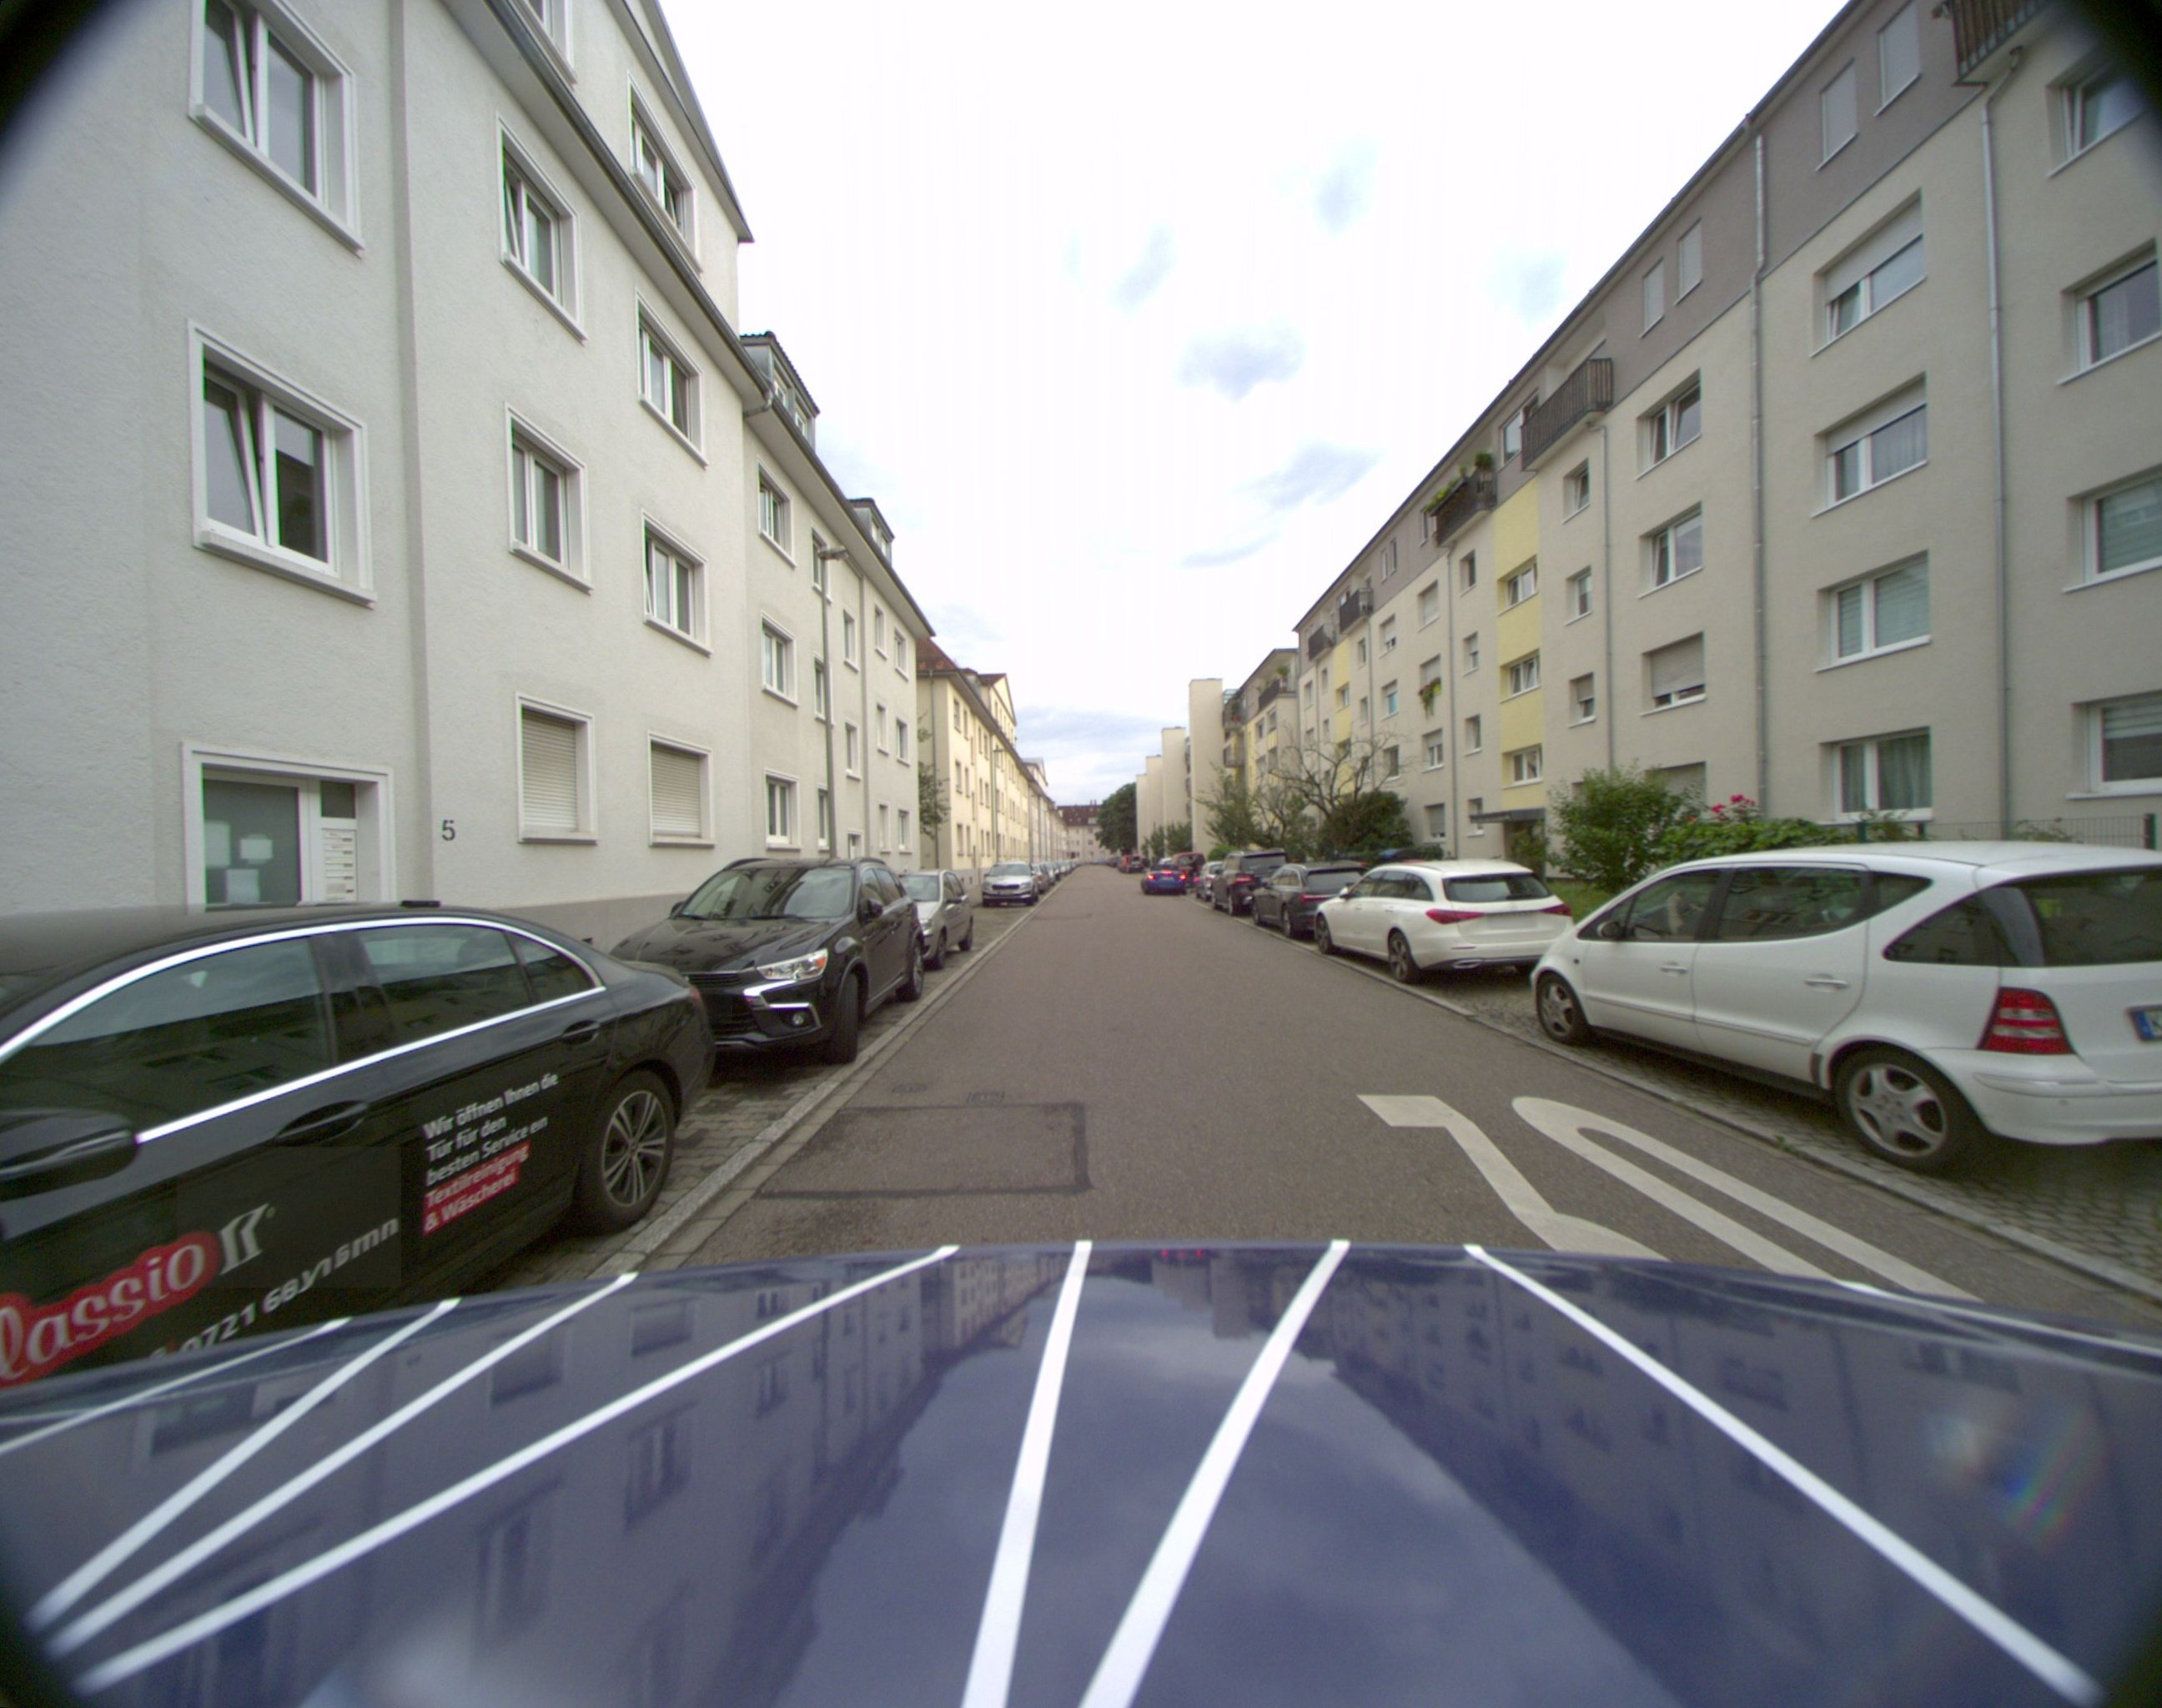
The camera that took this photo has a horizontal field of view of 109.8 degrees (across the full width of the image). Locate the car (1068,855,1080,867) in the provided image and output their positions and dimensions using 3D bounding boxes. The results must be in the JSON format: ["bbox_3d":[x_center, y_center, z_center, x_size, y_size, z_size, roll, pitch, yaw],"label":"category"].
[{"bbox_3d":[-1.119,1.017,113.646,1.737,1.670,3.592,-1,0,-1],"label":"car"}]

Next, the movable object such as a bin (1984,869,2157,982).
[{"bbox_3d":[10.680,0.745,8.236,0.871,1.103,0.787,-2,2,-3],"label":"movable object such as a bin"}]

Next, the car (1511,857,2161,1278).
[{"bbox_3d":[4.693,0.855,4.880,1.689,1.629,3.727,-2,0,-1],"label":"car"}]

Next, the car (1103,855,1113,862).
[{"bbox_3d":[6.203,1.091,173.766,1.745,1.534,3.637,-2,0,-5],"label":"car"}]

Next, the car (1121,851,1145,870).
[{"bbox_3d":[5.798,0.791,85.587,2.188,2.019,4.422,-1,-1,-2],"label":"car"}]

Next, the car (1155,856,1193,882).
[{"bbox_3d":[5.531,0.877,45.380,1.707,1.436,3.542,-1,-1,-2],"label":"car"}]

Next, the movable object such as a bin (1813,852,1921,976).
[{"bbox_3d":[9.091,0.668,8.806,0.659,1.360,0.587,-2,2,-3],"label":"movable object such as a bin"}]

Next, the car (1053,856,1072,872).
[{"bbox_3d":[-1.787,0.974,74.827,1.737,1.443,4.217,-1,0,-1],"label":"car"}]

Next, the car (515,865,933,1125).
[{"bbox_3d":[-2.675,0.928,6.919,1.853,1.589,4.160,-1,0,-1],"label":"car"}]

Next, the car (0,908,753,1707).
[{"bbox_3d":[-2.814,1.046,2.293,1.786,1.454,4.322,-1,0,-1],"label":"car"}]

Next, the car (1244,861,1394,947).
[{"bbox_3d":[4.726,0.917,15.802,1.729,1.445,4.483,-1,0,1],"label":"car"}]

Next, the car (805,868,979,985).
[{"bbox_3d":[-2.770,0.999,12.003,1.737,1.478,3.757,-1,0,1],"label":"car"}]

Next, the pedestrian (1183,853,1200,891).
[{"bbox_3d":[4.995,0.807,34.290,0.603,1.657,0.622,-2,0,-2],"label":"pedestrian"}]

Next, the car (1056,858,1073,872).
[{"bbox_3d":[-1.816,1.185,84.616,1.737,1.443,4.217,-1,0,-1],"label":"car"}]

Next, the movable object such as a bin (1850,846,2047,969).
[{"bbox_3d":[10.551,0.603,9.303,1.059,1.366,1.189,-2,1,-4],"label":"movable object such as a bin"}]

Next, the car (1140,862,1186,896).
[{"bbox_3d":[3.583,1.076,33.776,1.679,1.307,3.908,-2,1,2],"label":"car"}]

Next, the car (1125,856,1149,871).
[{"bbox_3d":[5.782,1.005,79.350,2.013,1.436,4.197,-1,-1,-2],"label":"car"}]

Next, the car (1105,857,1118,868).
[{"bbox_3d":[5.489,1.517,137.028,1.999,2.001,3.999,-2,0,-3],"label":"car"}]

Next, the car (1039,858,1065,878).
[{"bbox_3d":[-2.076,1.012,55.648,1.737,1.363,4.217,-1,0,-1],"label":"car"}]

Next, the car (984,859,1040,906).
[{"bbox_3d":[-2.464,0.982,27.781,1.737,1.538,3.677,-1,0,-1],"label":"car"}]

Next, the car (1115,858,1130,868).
[{"bbox_3d":[6.770,1.458,124.113,1.745,1.534,3.637,-2,0,-5],"label":"car"}]

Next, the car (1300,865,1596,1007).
[{"bbox_3d":[4.682,0.920,10.619,1.723,1.501,4.687,-1,-1,-2],"label":"car"}]

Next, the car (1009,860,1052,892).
[{"bbox_3d":[-2.378,1.024,36.696,1.737,1.418,4.218,-1,0,0],"label":"car"}]

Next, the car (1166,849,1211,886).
[{"bbox_3d":[5.488,0.699,39.191,1.707,1.795,3.542,-1,-1,-2],"label":"car"}]

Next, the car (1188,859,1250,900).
[{"bbox_3d":[5.140,0.923,28.640,1.575,1.388,3.542,-1,-1,-2],"label":"car"}]

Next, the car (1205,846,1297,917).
[{"bbox_3d":[4.732,0.734,21.715,1.575,1.769,4.452,-2,-1,0],"label":"car"}]

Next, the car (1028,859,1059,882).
[{"bbox_3d":[-2.315,1.018,48.015,1.737,1.402,4.217,-1,0,-1],"label":"car"}]
